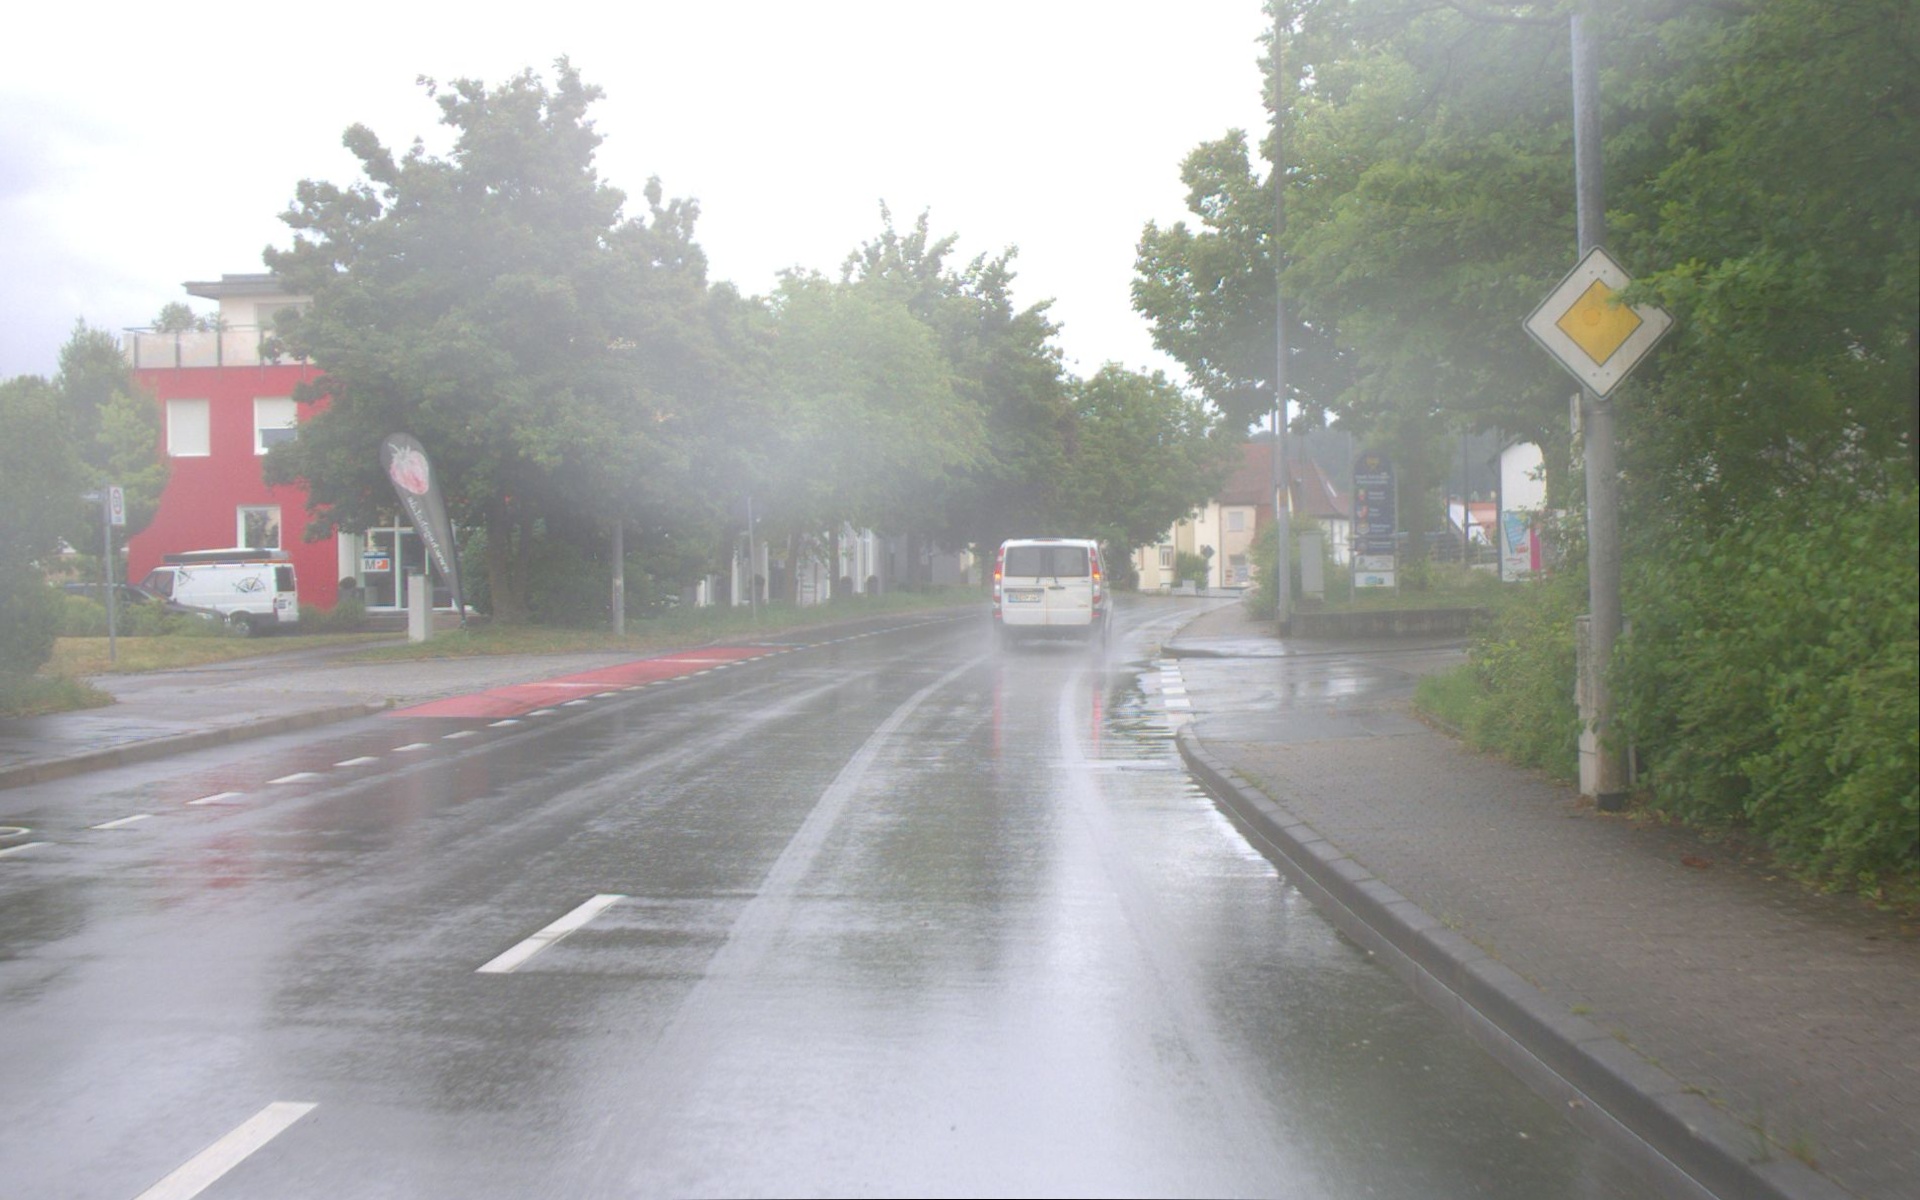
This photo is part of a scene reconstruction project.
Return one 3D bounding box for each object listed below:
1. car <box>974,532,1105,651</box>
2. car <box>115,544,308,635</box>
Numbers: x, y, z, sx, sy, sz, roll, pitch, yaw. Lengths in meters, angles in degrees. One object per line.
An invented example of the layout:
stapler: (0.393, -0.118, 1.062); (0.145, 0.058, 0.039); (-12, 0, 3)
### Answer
car: (1.296, -0.181, 57.911); (2.117, 1.881, 4.502); (0, 1, 0)
car: (-19.636, -0.287, 90.269); (4.479, 2.302, 2.184); (1, 1, 9)
